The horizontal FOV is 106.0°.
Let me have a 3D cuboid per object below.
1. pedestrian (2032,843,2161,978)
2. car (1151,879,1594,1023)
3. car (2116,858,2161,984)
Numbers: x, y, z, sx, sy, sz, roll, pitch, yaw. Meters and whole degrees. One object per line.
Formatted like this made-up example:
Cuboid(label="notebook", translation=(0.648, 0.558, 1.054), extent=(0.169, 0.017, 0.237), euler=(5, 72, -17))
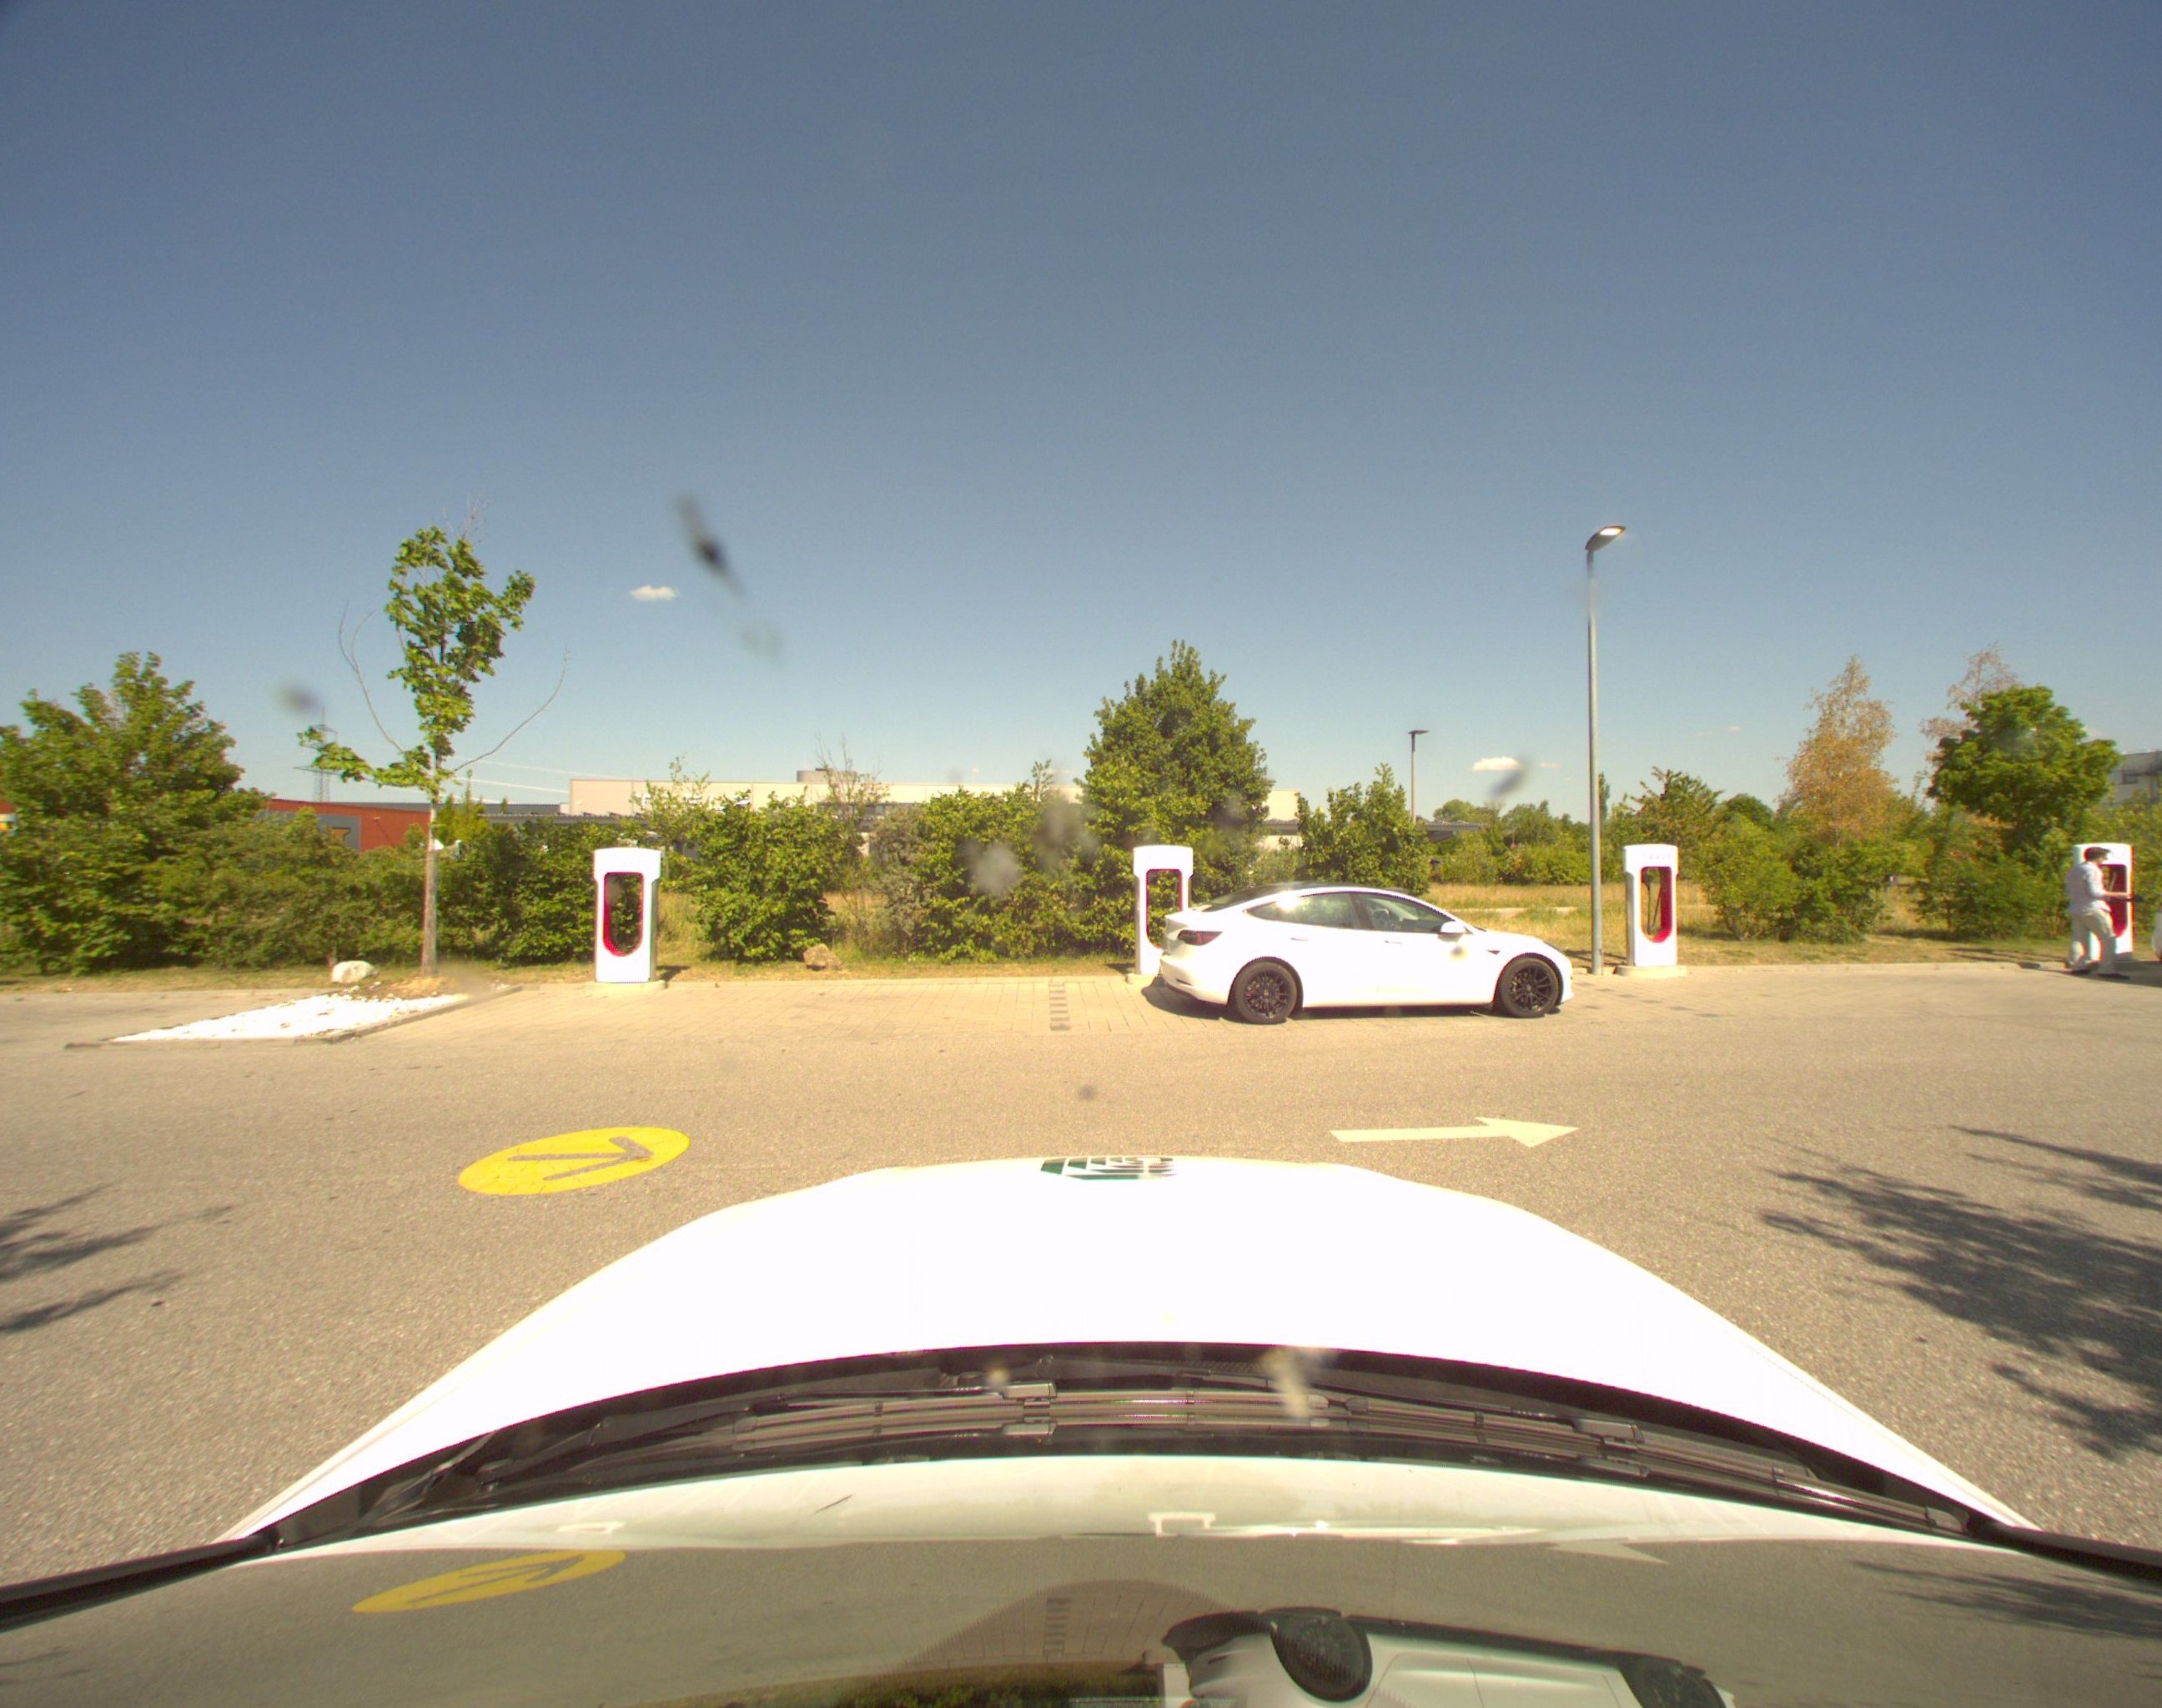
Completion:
Cuboid(label="pedestrian", translation=(14.101, 0.753, 11.288), extent=(1.031, 1.800, 0.735), euler=(0, -1, -7))
Cuboid(label="car", translation=(3.131, 1.014, 9.324), extent=(4.425, 1.377, 1.820), euler=(0, -1, -4))
Cuboid(label="car", translation=(16.096, 0.826, 10.119), extent=(4.467, 1.600, 1.866), euler=(-1, -1, -5))
